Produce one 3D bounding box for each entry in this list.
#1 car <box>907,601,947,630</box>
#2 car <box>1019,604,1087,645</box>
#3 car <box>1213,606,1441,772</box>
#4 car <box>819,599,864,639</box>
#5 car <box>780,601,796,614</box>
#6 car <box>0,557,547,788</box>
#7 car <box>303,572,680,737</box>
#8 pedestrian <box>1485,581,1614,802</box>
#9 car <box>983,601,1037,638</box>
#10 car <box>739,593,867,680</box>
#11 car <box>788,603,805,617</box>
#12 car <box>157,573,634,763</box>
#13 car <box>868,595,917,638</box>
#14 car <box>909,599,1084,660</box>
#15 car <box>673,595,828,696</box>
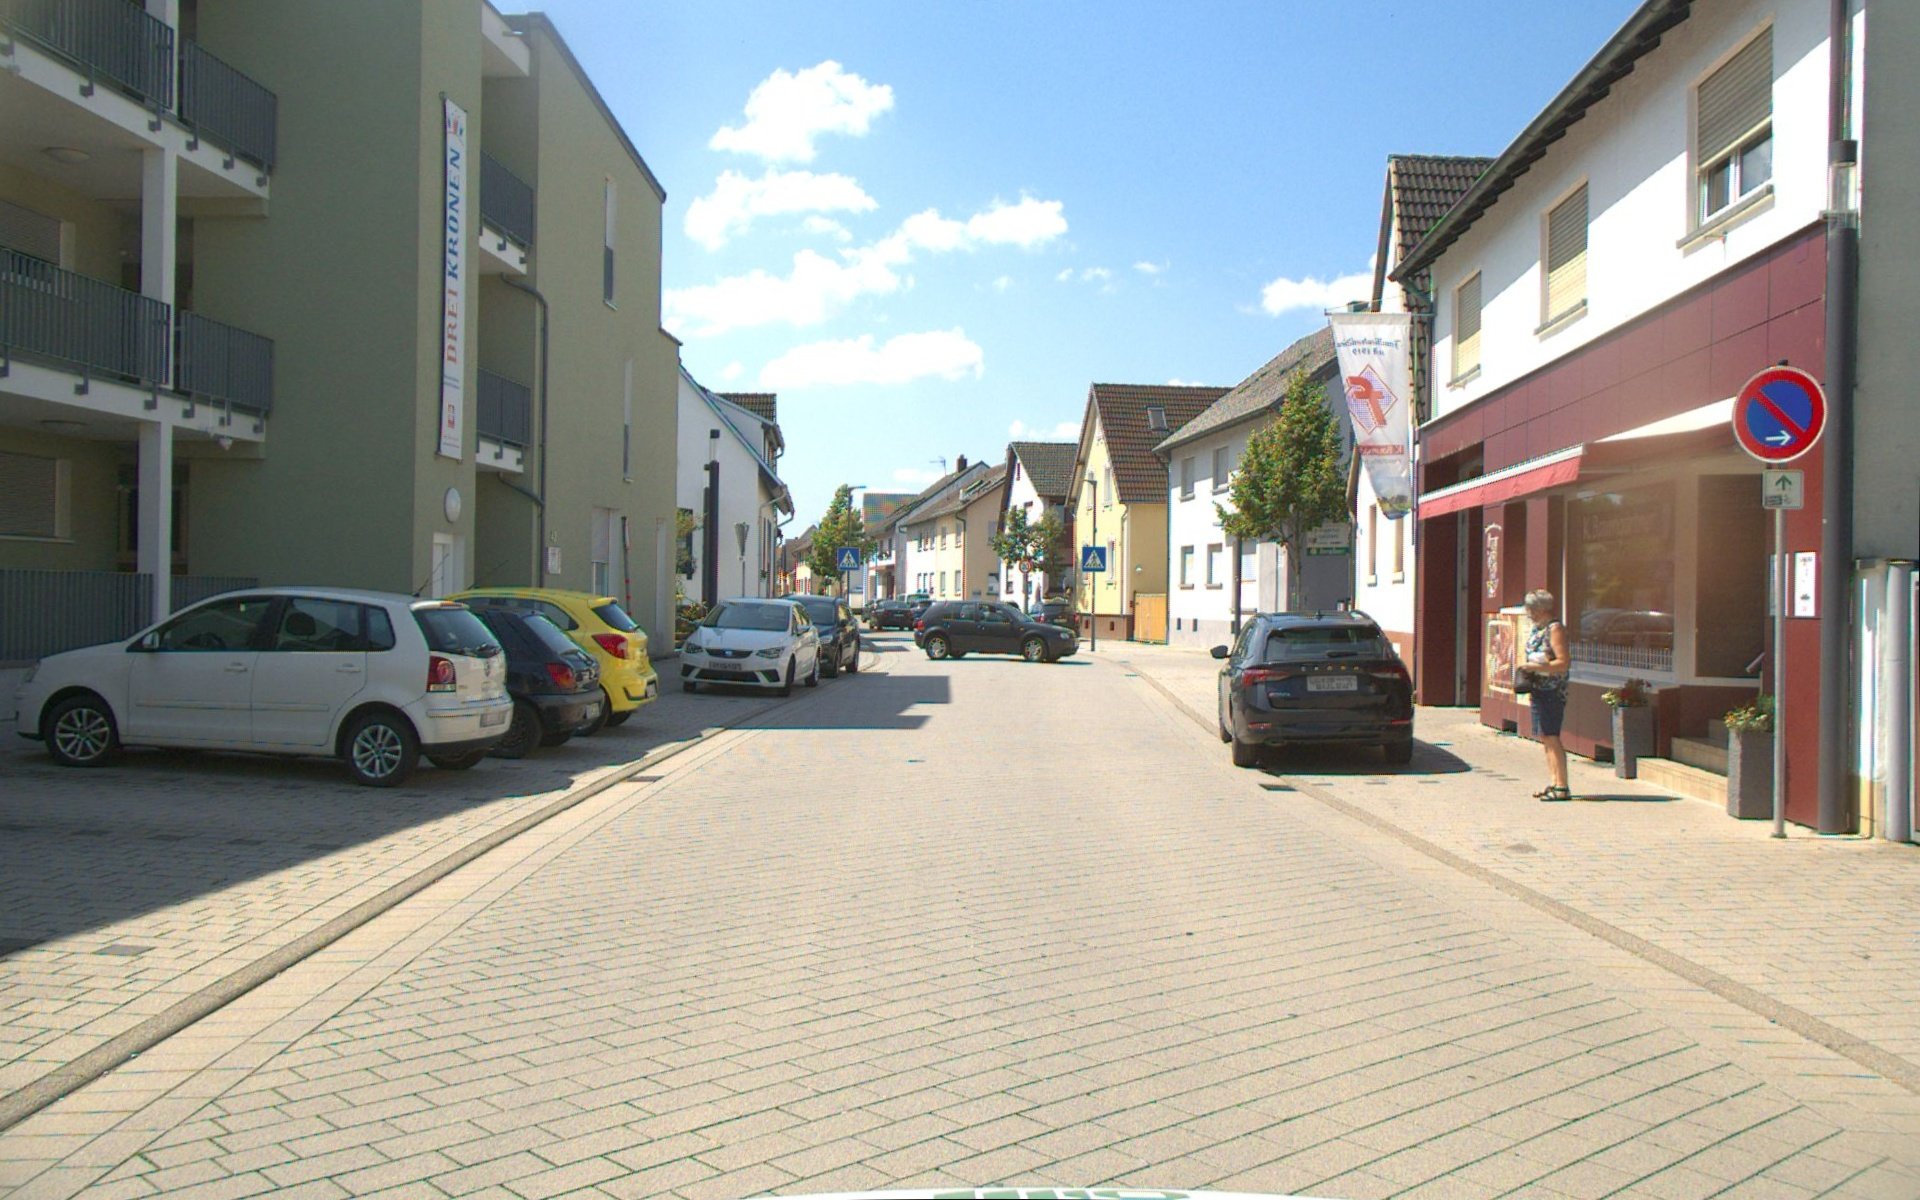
[{"bbox_3d":[-1.921,0.853,95.272,1.842,1.619,3.992,0,0,-8],"label":"car"},{"bbox_3d":[3.570,0.943,64.323,1.795,1.497,4.268,-1,0,-8],"label":"car"},{"bbox_3d":[3.690,0.826,17.373,1.818,1.484,4.589,-1,0,6],"label":"car"},{"bbox_3d":[-4.995,0.771,69.412,1.713,1.557,3.995,2,0,-5],"label":"car"},{"bbox_3d":[-19.592,0.877,188.217,1.656,1.478,3.785,0,0,-8],"label":"car"},{"bbox_3d":[-5.559,0.540,13.473,3.819,1.528,1.752,3,0,5],"label":"car"},{"bbox_3d":[-5.150,0.574,18.472,3.615,1.552,1.673,3,0,4],"label":"car"},{"bbox_3d":[4.631,0.706,13.040,0.714,1.669,0.749,-2,-1,4],"label":"pedestrian"},{"bbox_3d":[2.224,0.872,74.049,1.812,1.590,3.686,0,0,-8],"label":"car"},{"bbox_3d":[-2.984,0.665,32.329,1.775,1.516,4.279,2,0,4],"label":"car"},{"bbox_3d":[-17.271,1.056,174.786,1.656,1.478,3.785,0,0,-8],"label":"car"},{"bbox_3d":[-5.324,0.615,15.903,3.904,1.466,1.692,4,0,3],"label":"car"},{"bbox_3d":[-3.417,0.792,83.253,1.957,2.094,4.365,0,0,-9],"label":"car"},{"bbox_3d":[0.914,0.721,40.602,4.018,1.464,1.766,0,0,12],"label":"car"},{"bbox_3d":[-3.304,0.685,26.796,1.721,1.435,3.879,3,0,4],"label":"car"}]
